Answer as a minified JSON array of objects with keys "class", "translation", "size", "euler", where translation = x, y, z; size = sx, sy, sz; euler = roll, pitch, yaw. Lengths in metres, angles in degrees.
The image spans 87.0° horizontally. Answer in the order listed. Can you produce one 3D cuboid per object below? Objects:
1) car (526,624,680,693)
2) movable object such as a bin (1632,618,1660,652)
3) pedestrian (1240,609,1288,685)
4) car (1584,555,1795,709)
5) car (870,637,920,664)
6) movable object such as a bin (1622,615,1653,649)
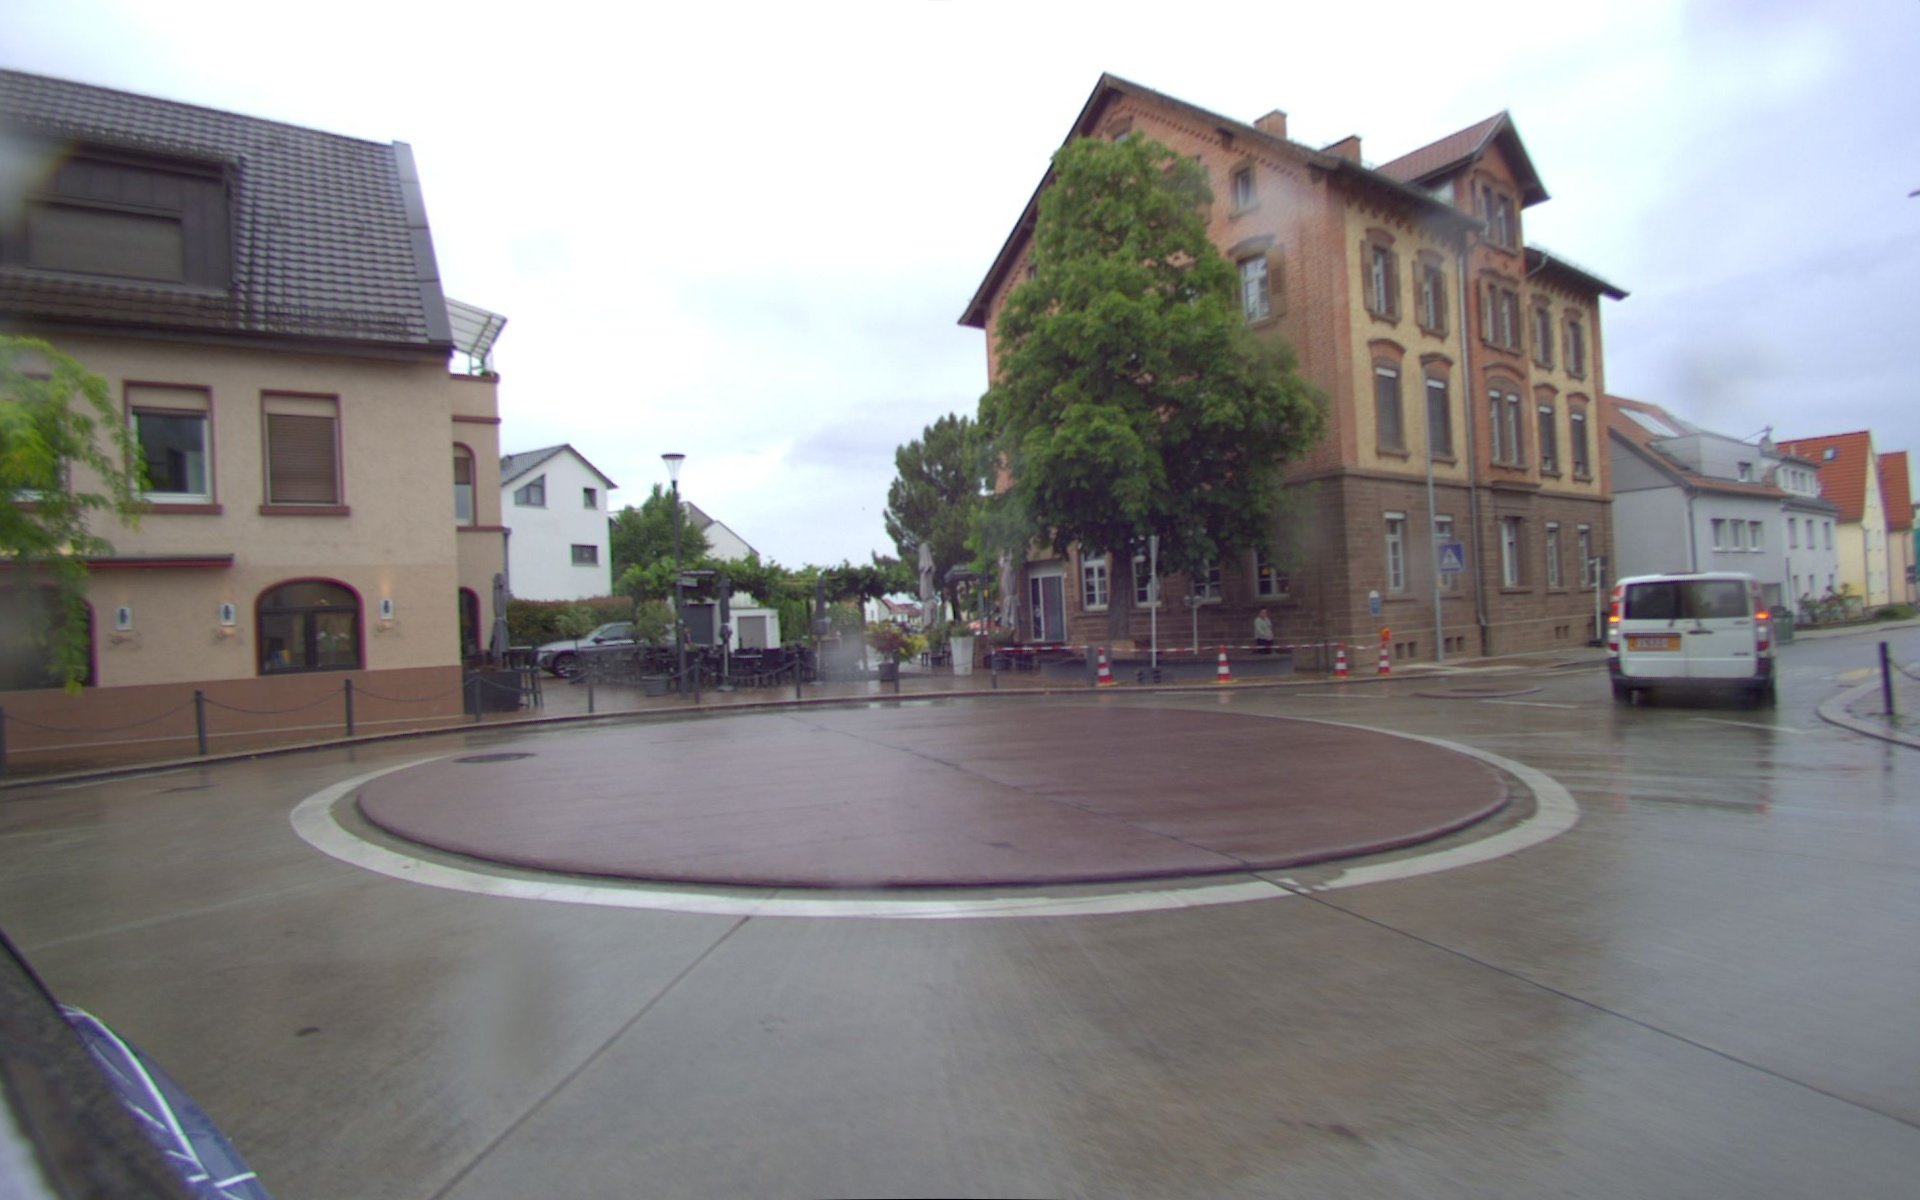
[{"class":"car","translation":[-11.374,1.820,32.279],"size":[4.411,2.029,2.006],"euler":[0,-3,-27]},{"class":"movable object such as a bin","translation":[24.302,1.241,35.854],"size":[0.591,1.178,0.671],"euler":[0,-2,-43]},{"class":"pedestrian","translation":[7.817,1.182,25.998],"size":[0.811,1.901,0.844],"euler":[0,-2,-39]},{"class":"car","translation":[10.792,0.490,15.216],"size":[2.154,1.913,4.868],"euler":[-2,-3,34]},{"class":"car","translation":[-3.673,2.805,56.676],"size":[1.842,1.453,4.012],"euler":[0,-2,-17]},{"class":"movable object such as a bin","translation":[23.641,1.112,35.313],"size":[0.622,1.178,0.751],"euler":[0,-2,-43]}]
